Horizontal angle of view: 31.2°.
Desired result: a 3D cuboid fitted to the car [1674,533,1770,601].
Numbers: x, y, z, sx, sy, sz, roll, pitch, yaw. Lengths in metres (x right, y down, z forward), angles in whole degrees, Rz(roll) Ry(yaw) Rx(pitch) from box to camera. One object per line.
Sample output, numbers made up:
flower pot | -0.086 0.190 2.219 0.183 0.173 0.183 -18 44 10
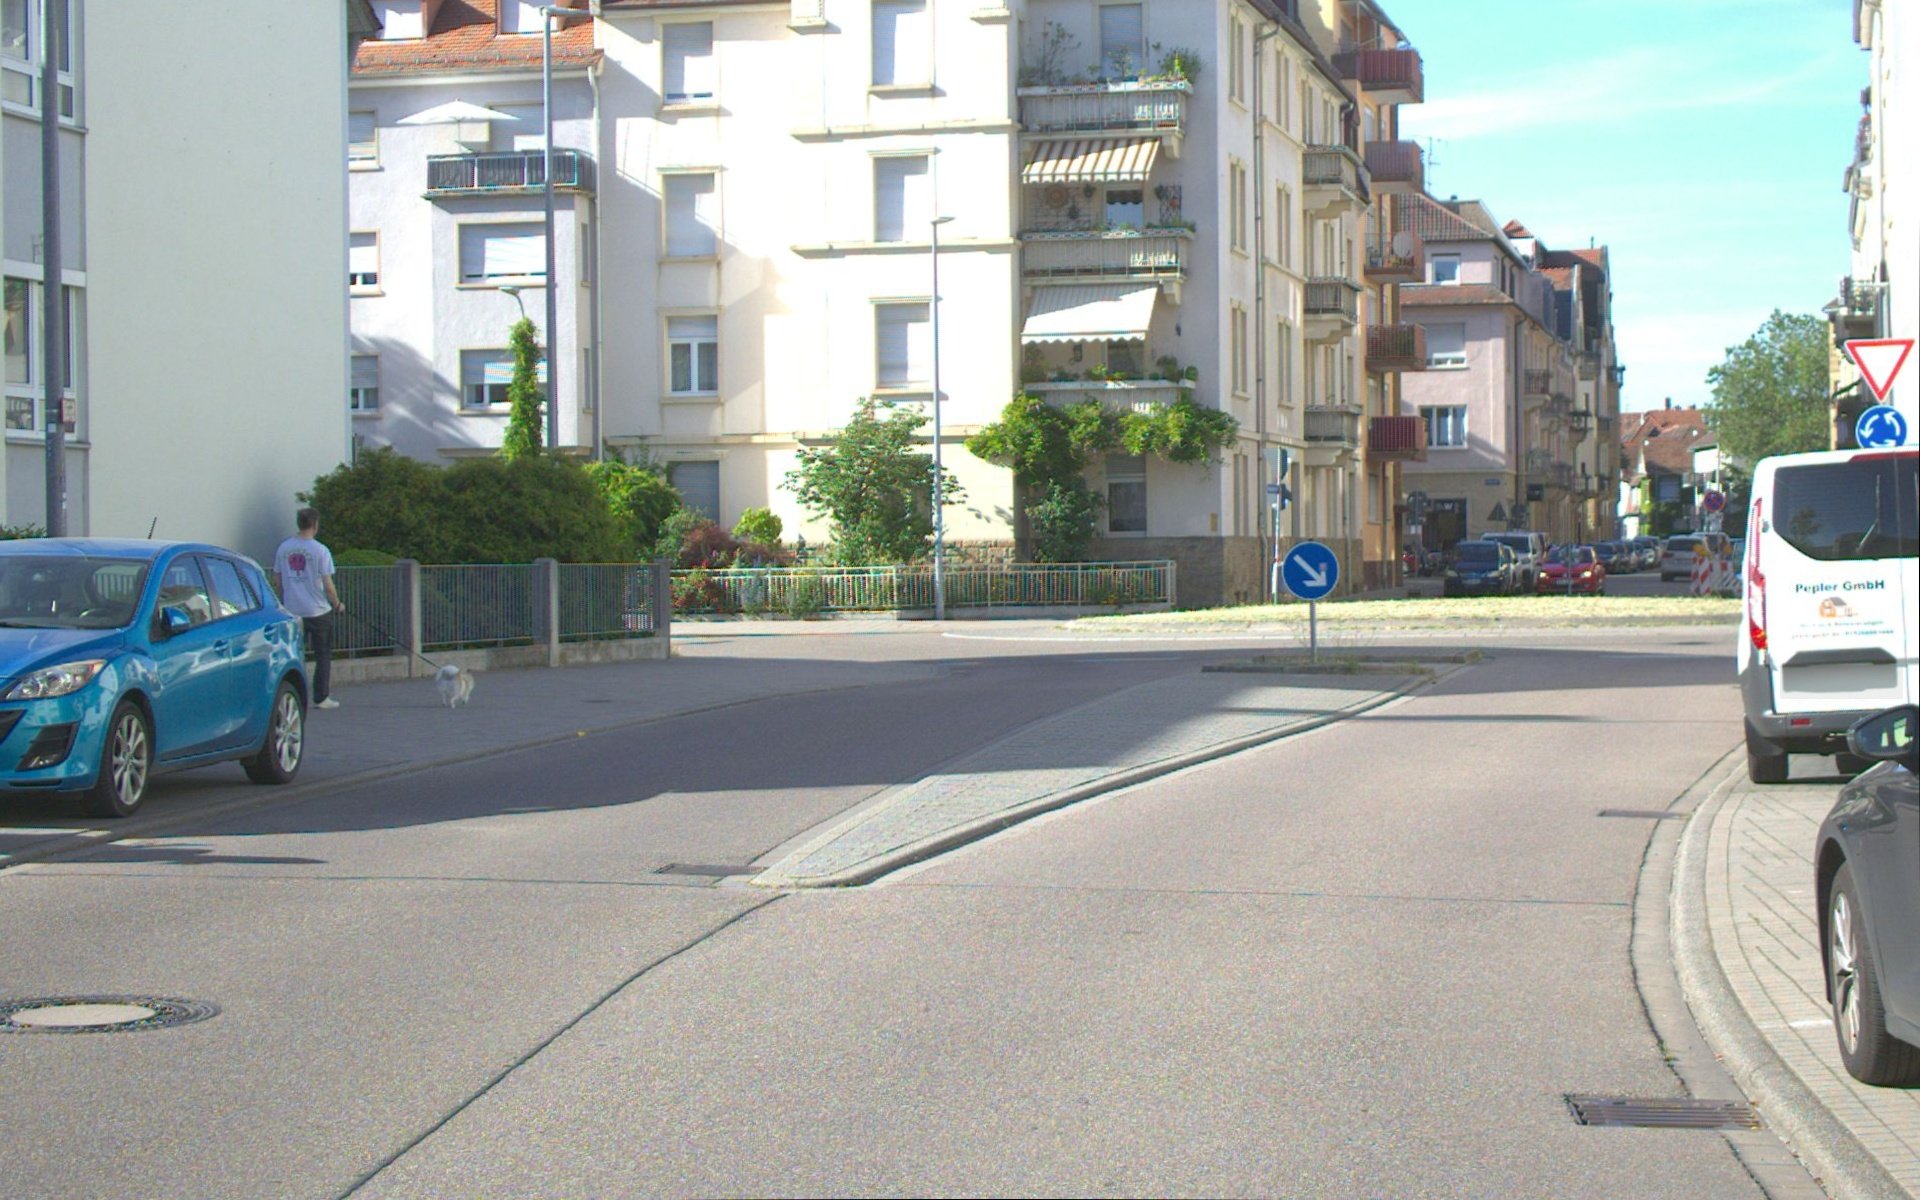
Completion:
car | 21.325 -0.944 96.094 2.433 1.805 4.720 0 1 15

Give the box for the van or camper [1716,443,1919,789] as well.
van or camper | 6.012 0.034 21.850 2.022 1.940 4.700 -2 1 16

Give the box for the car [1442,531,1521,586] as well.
car | 14.990 -1.211 98.620 1.994 1.527 3.998 0 1 12

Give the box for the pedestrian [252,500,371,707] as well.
pedestrian | -5.412 0.040 28.710 0.683 1.698 0.823 -1 -2 15

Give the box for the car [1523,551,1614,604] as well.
car | 16.953 -0.618 95.691 1.742 1.349 3.665 -1 -2 22

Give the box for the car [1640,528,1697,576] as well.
car | 26.433 -1.807 128.240 1.995 1.733 3.998 0 1 13

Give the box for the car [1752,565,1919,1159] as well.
car | 3.145 0.619 8.149 1.717 1.404 4.314 -3 1 3

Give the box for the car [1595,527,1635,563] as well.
car | 30.923 -2.608 162.180 1.635 1.650 3.668 0 1 14

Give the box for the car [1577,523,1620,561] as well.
car | 28.291 -2.585 152.271 1.635 1.650 3.668 0 1 14

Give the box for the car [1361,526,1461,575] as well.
car | 19.090 -2.090 145.470 3.905 2.007 1.761 0 1 21

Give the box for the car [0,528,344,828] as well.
car | -4.995 0.339 19.332 1.798 1.468 4.329 1 1 7

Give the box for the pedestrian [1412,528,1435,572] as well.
pedestrian | 18.234 -1.973 135.199 0.800 1.744 0.844 0 1 15

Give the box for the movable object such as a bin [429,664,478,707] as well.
movable object such as a bin | -4.328 0.731 29.372 0.220 0.347 0.520 0 1 15

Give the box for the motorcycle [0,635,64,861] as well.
motorcycle | -5.430 0.657 16.357 2.059 1.015 0.946 3 3 19
